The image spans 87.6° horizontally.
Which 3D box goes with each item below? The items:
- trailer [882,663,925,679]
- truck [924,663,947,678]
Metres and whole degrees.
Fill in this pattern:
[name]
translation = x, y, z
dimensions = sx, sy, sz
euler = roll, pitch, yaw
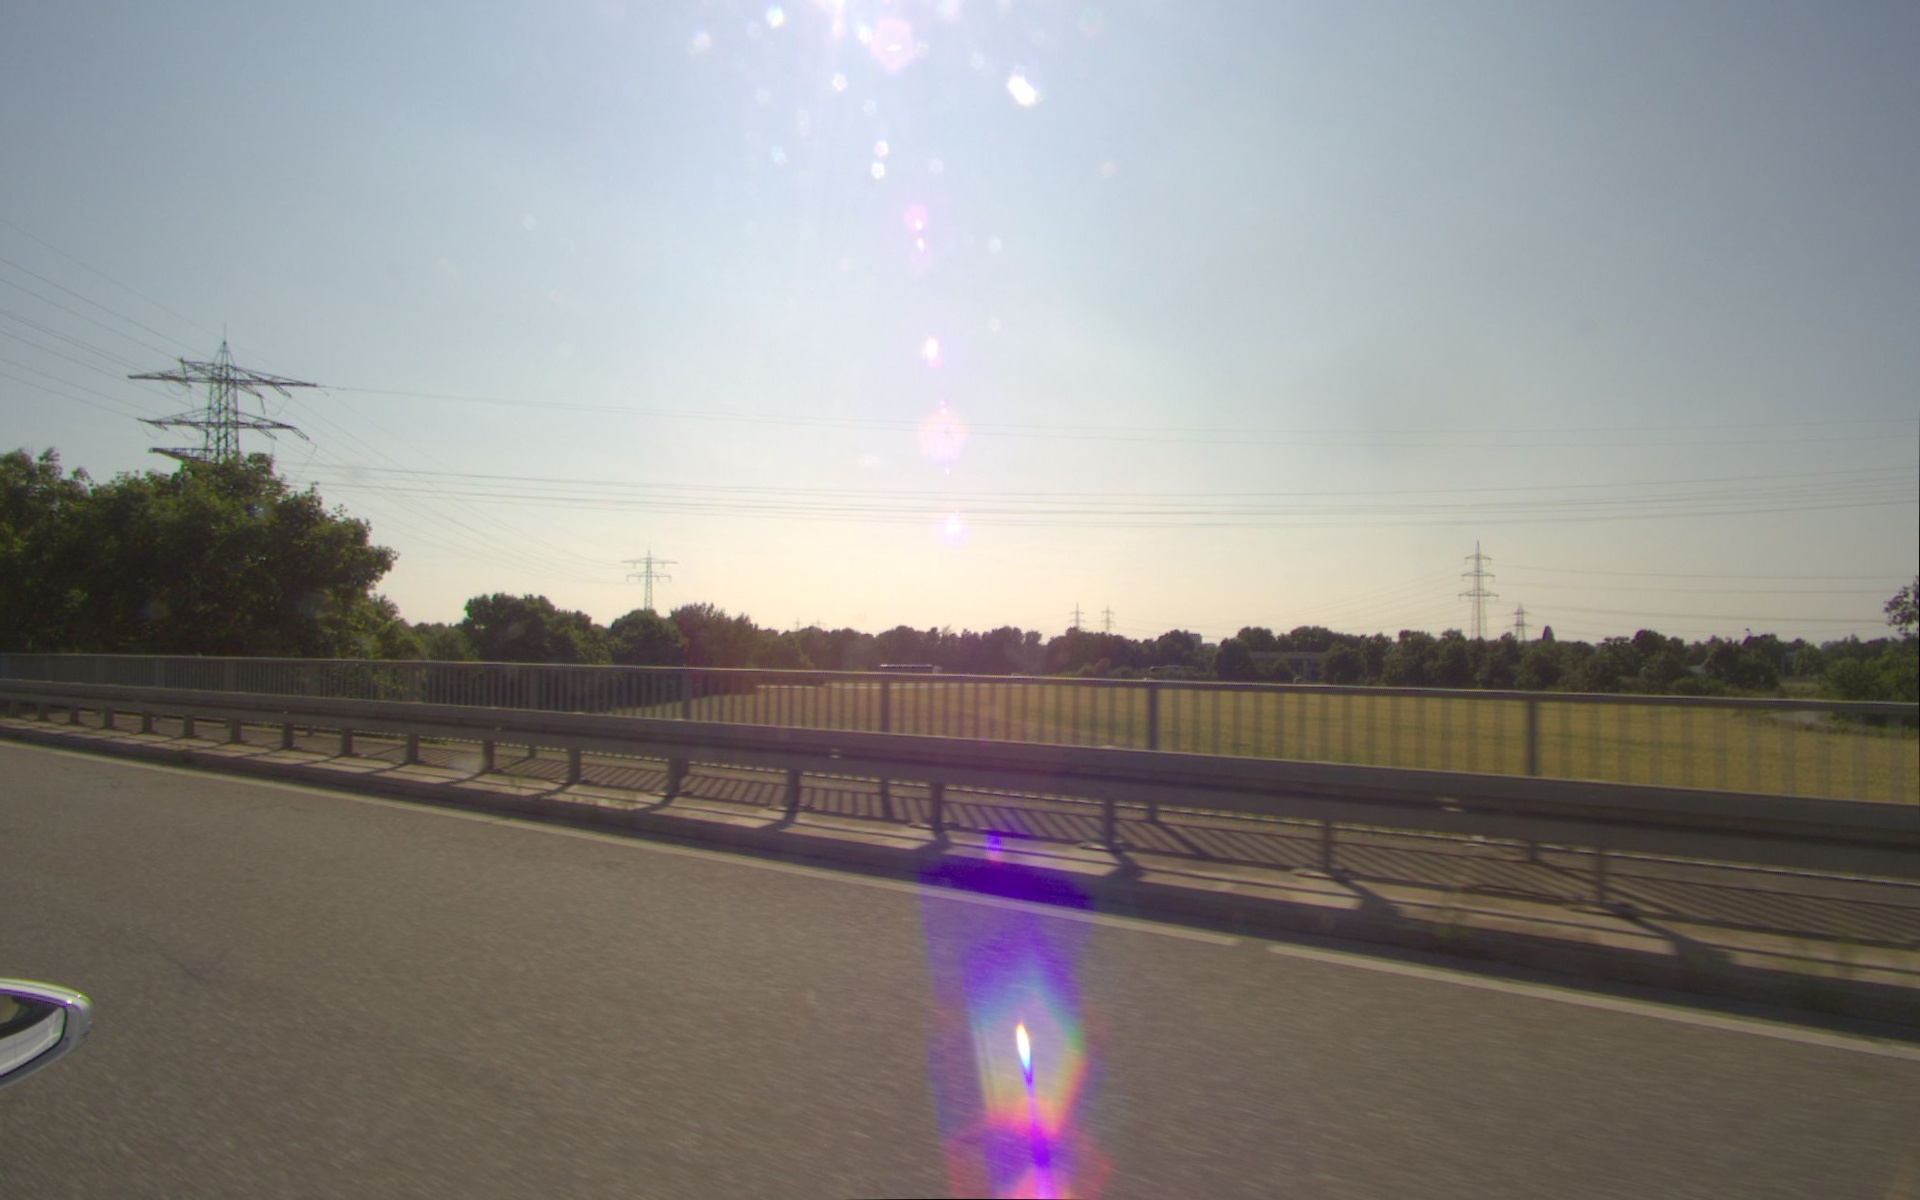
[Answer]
[trailer]
translation = -14.652, 18.290, 258.320
dimensions = 10.875, 3.767, 3.159
euler = 0, -1, -6
[truck]
translation = -6.329, 18.290, 259.083
dimensions = 5.999, 3.767, 2.856
euler = 0, -1, -4
